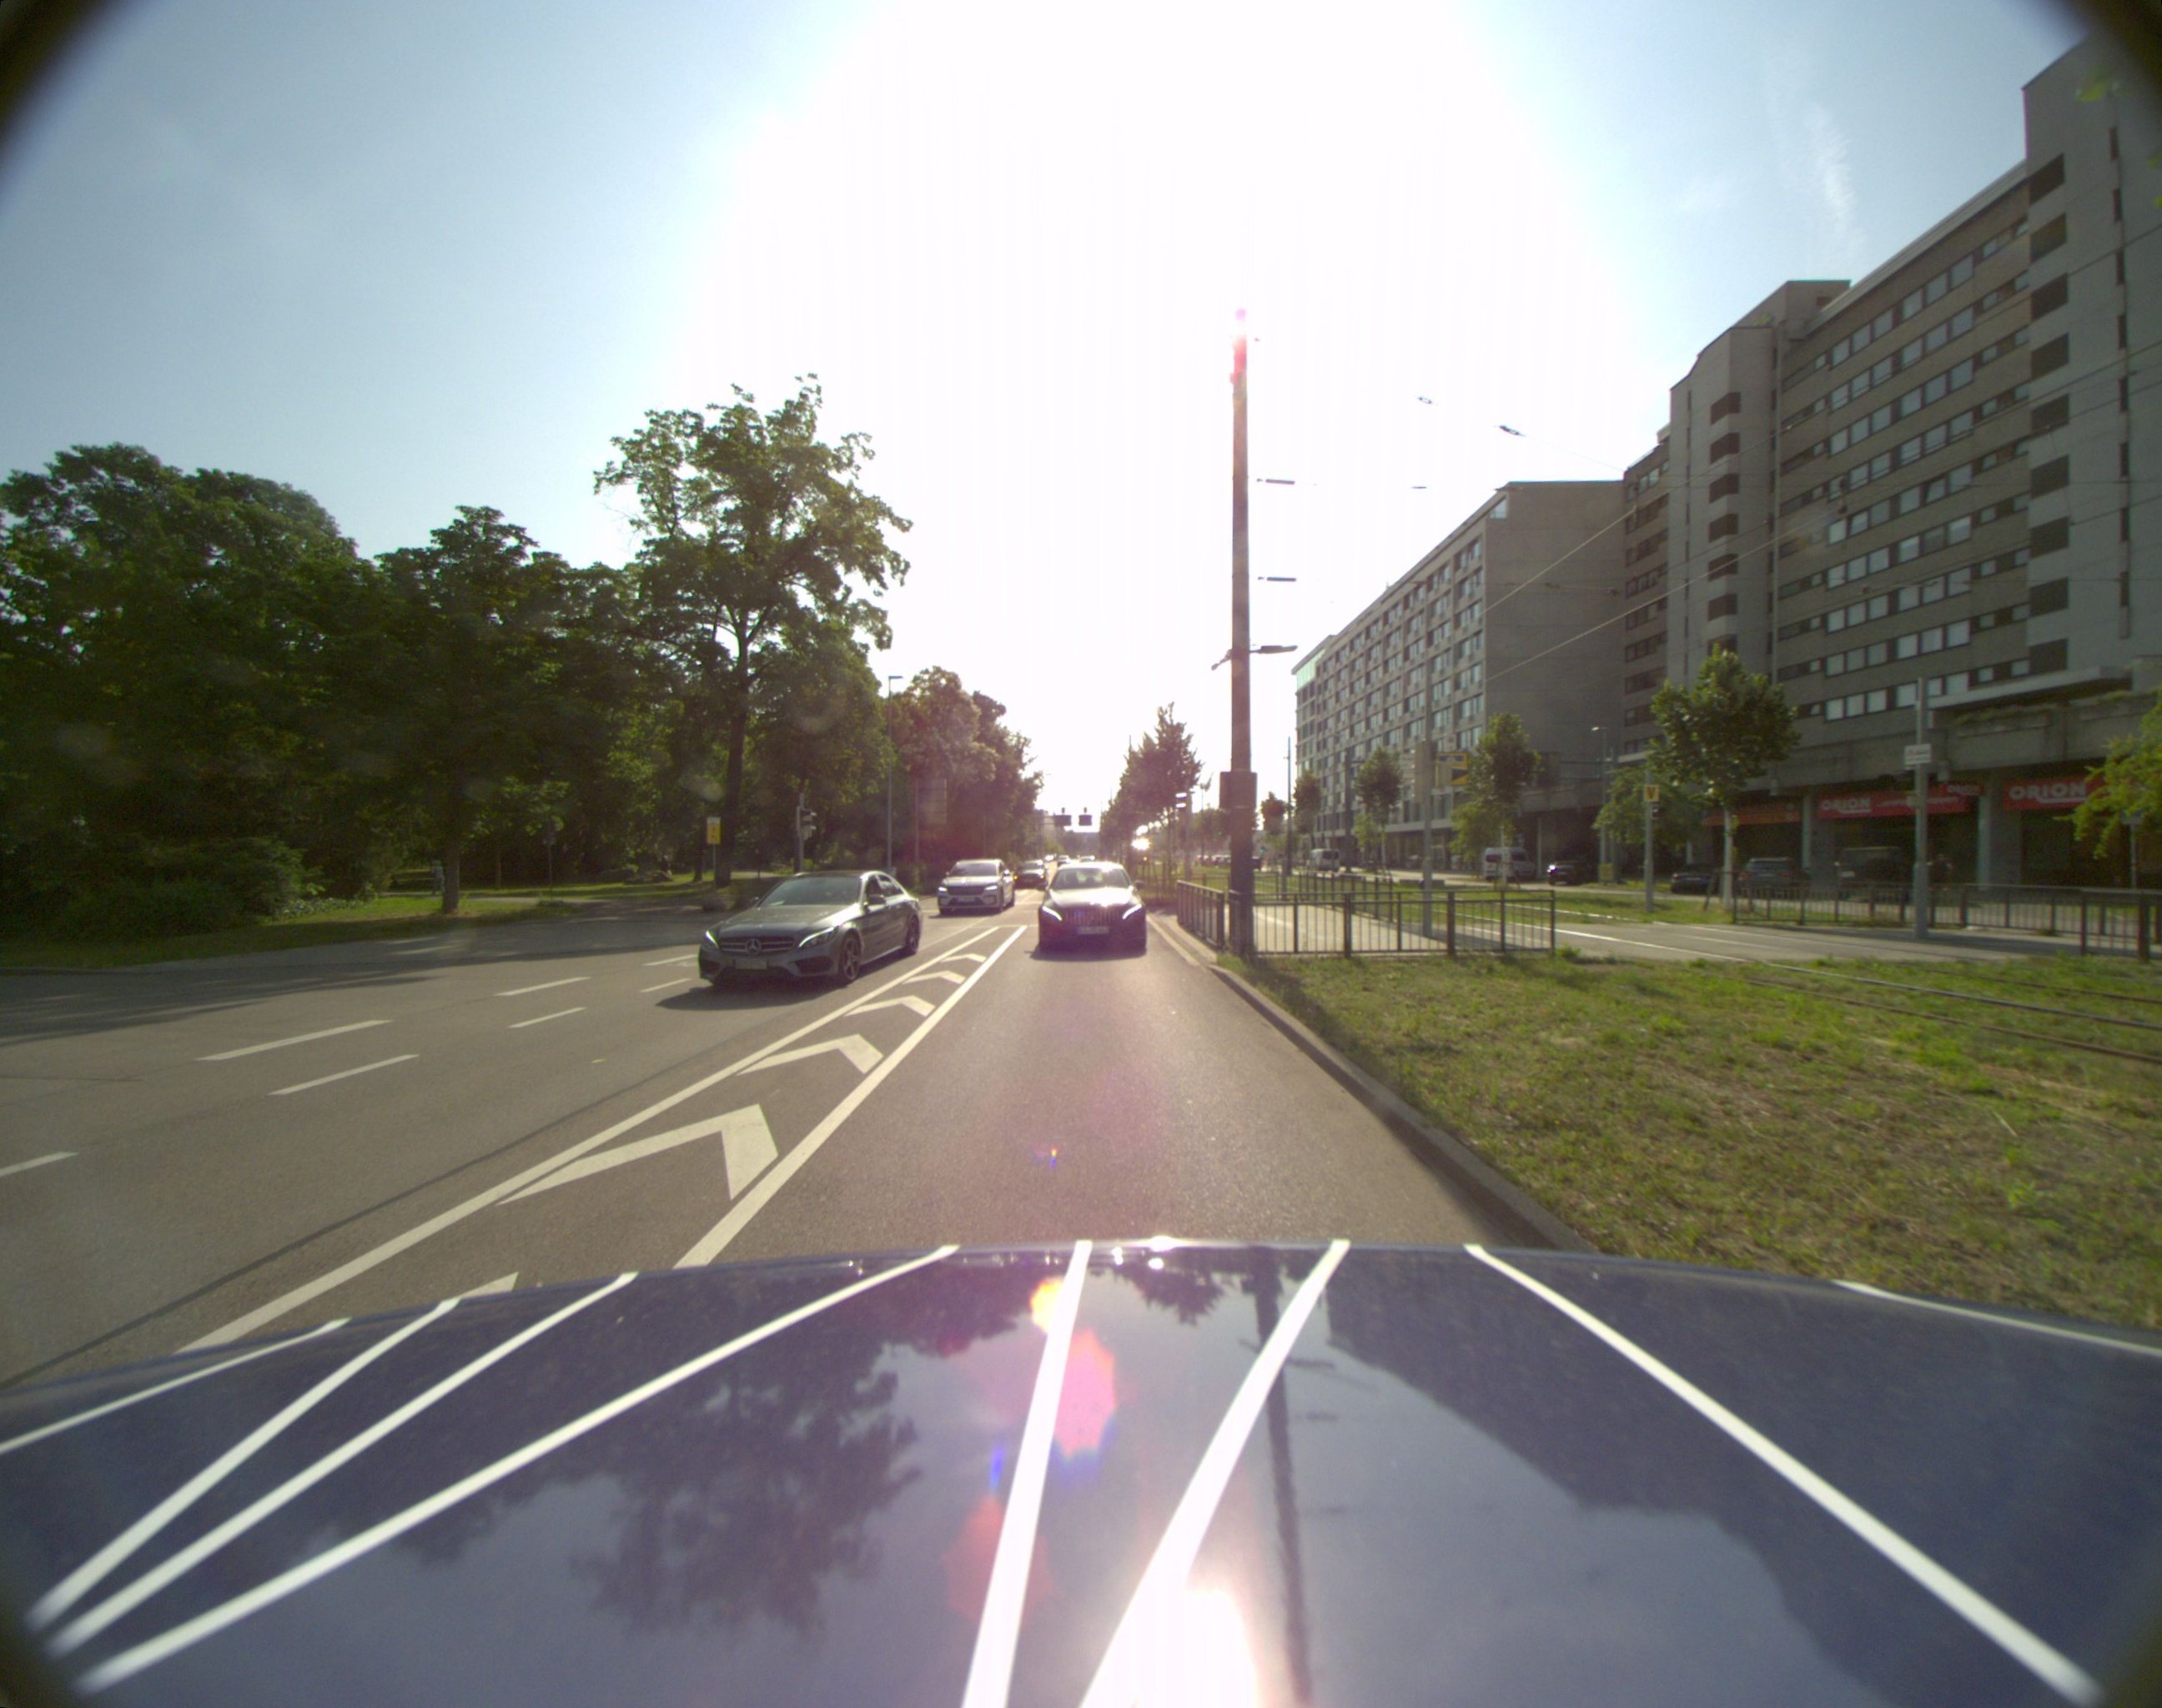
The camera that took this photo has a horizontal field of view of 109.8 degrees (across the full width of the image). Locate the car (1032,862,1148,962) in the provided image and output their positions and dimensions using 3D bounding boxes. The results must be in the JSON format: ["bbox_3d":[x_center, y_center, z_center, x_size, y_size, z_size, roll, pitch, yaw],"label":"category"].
[{"bbox_3d":[0.186,0.927,14.197,1.759,1.437,4.617,-2,0,1],"label":"car"}]

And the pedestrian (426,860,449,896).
[{"bbox_3d":[-27.849,1.021,32.882,0.668,1.509,0.535,0,1,33],"label":"pedestrian"}]

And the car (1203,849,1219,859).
[{"bbox_3d":[18.199,-0.006,106.509,1.811,1.466,4.000,0,0,3],"label":"car"}]

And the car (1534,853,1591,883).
[{"bbox_3d":[29.092,0.841,45.831,2.097,1.573,4.008,-3,0,44],"label":"car"}]

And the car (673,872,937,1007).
[{"bbox_3d":[-3.631,1.043,11.047,1.792,1.437,4.563,-1,0,5],"label":"car"}]

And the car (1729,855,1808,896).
[{"bbox_3d":[29.445,0.868,32.532,4.119,1.597,1.874,-1,1,-39],"label":"car"}]

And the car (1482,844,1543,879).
[{"bbox_3d":[29.853,0.448,52.512,5.419,2.295,1.879,-1,1,-40],"label":"car"}]

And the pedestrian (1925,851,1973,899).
[{"bbox_3d":[31.363,0.744,27.475,0.744,1.686,1.115,-1,1,-42],"label":"pedestrian"}]

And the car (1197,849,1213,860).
[{"bbox_3d":[18.581,0.054,114.300,1.787,1.516,4.000,0,0,1],"label":"car"}]

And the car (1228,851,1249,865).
[{"bbox_3d":[18.076,0.453,87.268,1.745,1.478,3.642,0,0,3],"label":"car"}]

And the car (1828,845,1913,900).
[{"bbox_3d":[30.240,0.642,29.067,4.119,1.957,1.874,-1,1,-39],"label":"car"}]

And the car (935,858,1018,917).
[{"bbox_3d":[-3.157,0.970,23.788,1.897,1.561,4.250,-2,0,1],"label":"car"}]

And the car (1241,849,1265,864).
[{"bbox_3d":[17.955,0.251,79.608,1.811,1.472,4.000,0,0,3],"label":"car"}]

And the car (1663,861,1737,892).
[{"bbox_3d":[29.447,1.030,36.116,4.119,1.237,1.874,-2,1,-39],"label":"car"}]

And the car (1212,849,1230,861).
[{"bbox_3d":[18.234,0.124,99.126,1.811,1.565,4.000,0,0,3],"label":"car"}]

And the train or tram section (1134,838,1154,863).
[{"bbox_3d":[8.960,-0.470,108.312,2.500,3.409,6.669,0,0,1],"label":"train or tram section"}]

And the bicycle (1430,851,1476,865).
[{"bbox_3d":[37.659,0.423,77.012,3.994,1.358,1.127,0,1,10],"label":"bicycle"}]

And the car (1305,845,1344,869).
[{"bbox_3d":[23.730,0.254,74.288,2.051,2.225,5.334,0,0,0],"label":"car"}]

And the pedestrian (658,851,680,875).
[{"bbox_3d":[-31.104,0.673,57.334,0.983,1.820,1.072,0,1,31],"label":"pedestrian"}]

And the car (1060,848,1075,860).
[{"bbox_3d":[-1.845,0.039,103.043,1.904,1.584,4.000,0,0,1],"label":"car"}]

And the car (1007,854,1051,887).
[{"bbox_3d":[-2.677,0.844,40.251,1.998,1.630,4.000,0,0,1],"label":"car"}]
